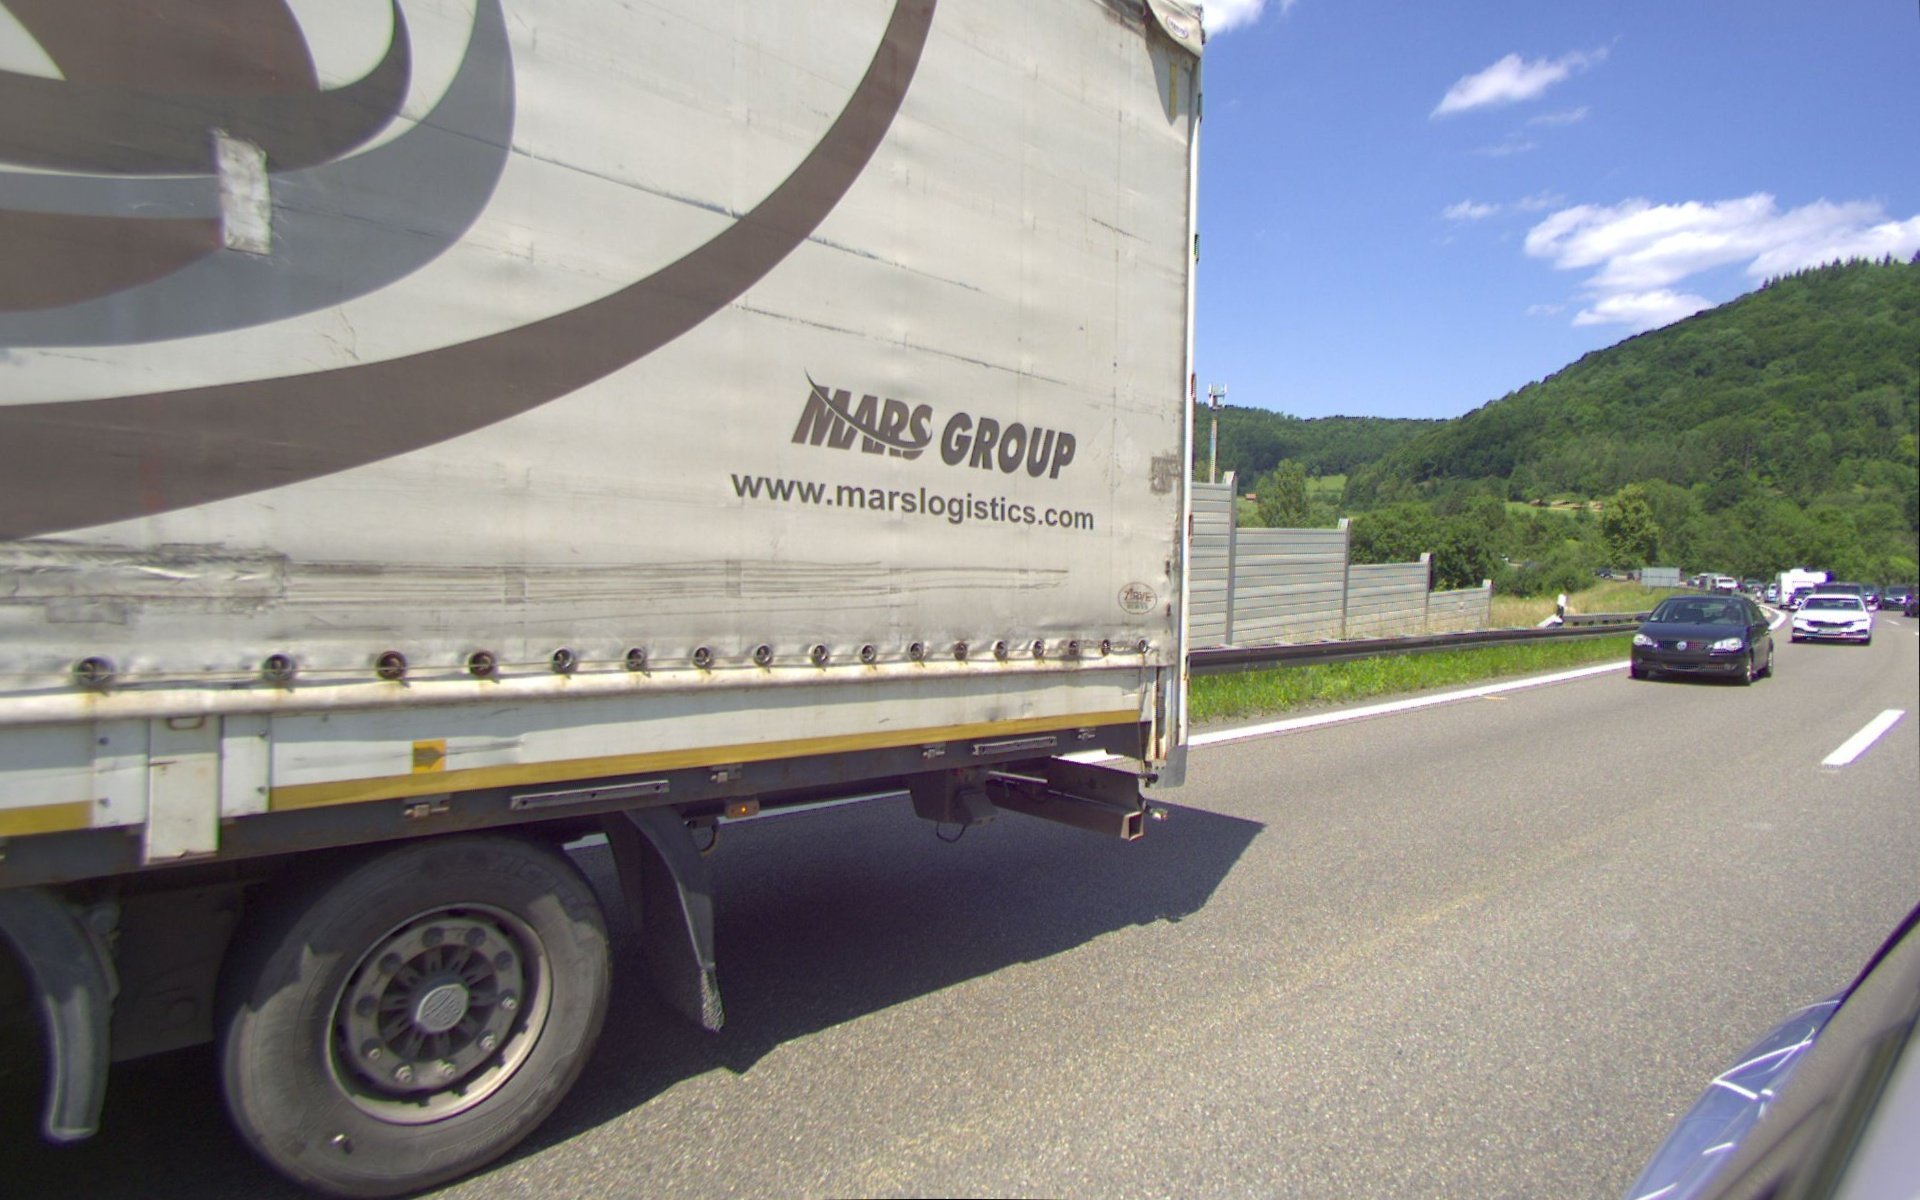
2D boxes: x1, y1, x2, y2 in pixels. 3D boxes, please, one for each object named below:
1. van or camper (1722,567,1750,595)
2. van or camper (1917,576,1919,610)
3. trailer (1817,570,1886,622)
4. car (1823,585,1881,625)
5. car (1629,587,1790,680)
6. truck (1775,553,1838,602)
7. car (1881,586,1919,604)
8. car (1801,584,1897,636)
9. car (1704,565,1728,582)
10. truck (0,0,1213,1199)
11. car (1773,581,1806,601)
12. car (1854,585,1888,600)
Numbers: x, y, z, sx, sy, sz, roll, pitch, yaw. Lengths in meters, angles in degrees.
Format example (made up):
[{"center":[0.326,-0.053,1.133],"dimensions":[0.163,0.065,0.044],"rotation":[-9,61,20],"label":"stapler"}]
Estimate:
[{"center":[88.291,-2.188,115.219],"dimensions":[1.895,3.065,4.822],"rotation":[1,1,31],"label":"van or camper"},{"center":[53.267,-0.369,54.776],"dimensions":[1.809,1.890,3.563],"rotation":[1,1,38],"label":"van or camper"},{"center":[36.975,-0.186,42.067],"dimensions":[1.992,1.994,3.942],"rotation":[3,2,40],"label":"trailer"},{"center":[34.570,0.151,39.185],"dimensions":[1.486,1.400,3.679],"rotation":[4,3,44],"label":"car"},{"center":[13.067,0.492,17.561],"dimensions":[3.776,1.440,1.692],"rotation":[-1,1,-45],"label":"car"},{"center":[58.139,-1.514,69.610],"dimensions":[2.587,3.147,6.773],"rotation":[-2,-1,35],"label":"truck"},{"center":[61.620,-0.359,66.387],"dimensions":[1.484,1.123,3.171],"rotation":[0,1,37],"label":"car"},{"center":[26.484,0.263,30.117],"dimensions":[3.661,1.448,1.904],"rotation":[0,0,-45],"label":"car"},{"center":[92.276,-3.190,123.575],"dimensions":[1.985,2.039,3.955],"rotation":[0,1,32],"label":"car"},{"center":[-4.888,-0.725,0.856],"dimensions":[13.504,4.118,2.731],"rotation":[-1,2,-41],"label":"truck"},{"center":[68.816,-0.749,84.038],"dimensions":[1.687,1.552,3.636],"rotation":[-2,0,33],"label":"car"},{"center":[69.367,-0.605,77.055],"dimensions":[1.482,1.123,3.175],"rotation":[0,1,34],"label":"car"}]
